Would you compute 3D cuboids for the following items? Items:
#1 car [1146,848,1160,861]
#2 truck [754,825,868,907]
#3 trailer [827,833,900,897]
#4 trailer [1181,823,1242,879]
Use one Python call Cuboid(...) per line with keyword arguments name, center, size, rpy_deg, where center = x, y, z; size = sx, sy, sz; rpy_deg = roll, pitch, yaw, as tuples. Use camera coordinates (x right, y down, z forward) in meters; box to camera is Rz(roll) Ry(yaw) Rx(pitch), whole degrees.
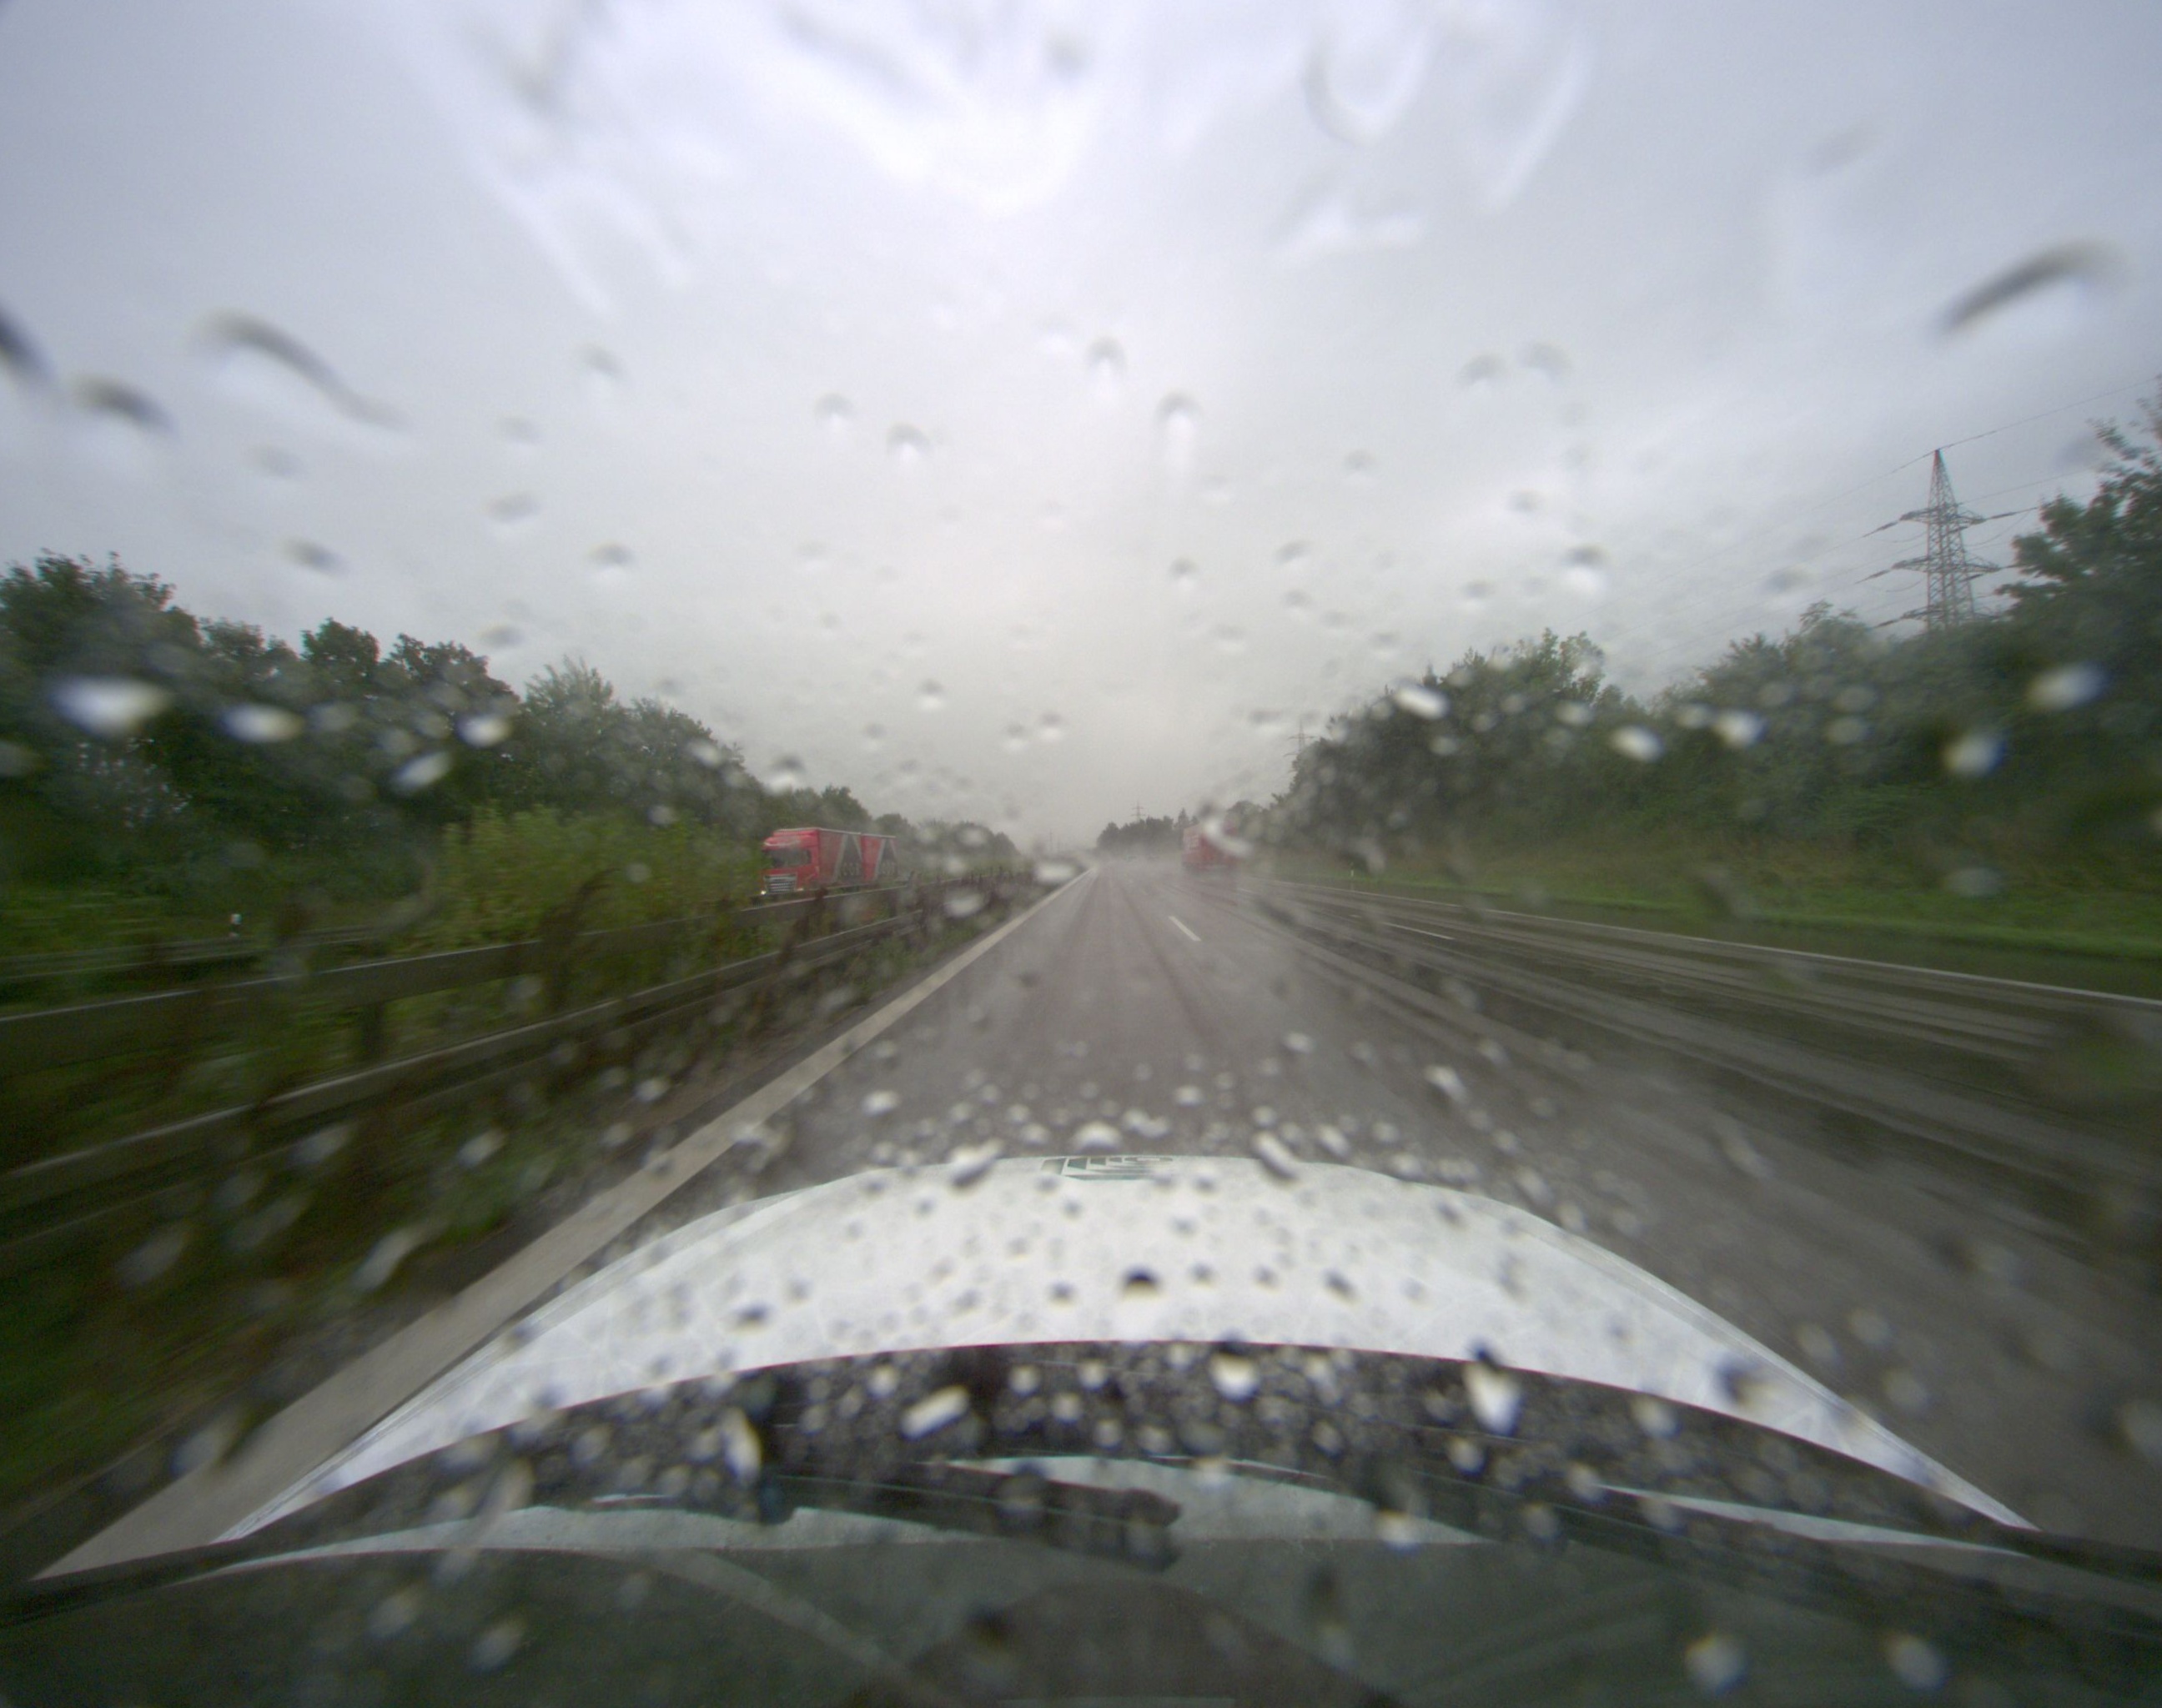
Cuboid(name="car", center=(12.386, 0.140, 139.379), size=(1.802, 2.158, 3.997), rpy_deg=(-4, 0, -2))
Cuboid(name="truck", center=(-15.584, 0.653, 48.263), size=(2.688, 4.230, 11.356), rpy_deg=(-1, 0, 1))
Cuboid(name="trailer", center=(-15.356, 0.750, 58.220), size=(2.688, 4.230, 8.491), rpy_deg=(-1, 0, 1))
Cuboid(name="trailer", center=(10.496, -0.168, 67.209), size=(2.612, 3.955, 13.627), rpy_deg=(-4, -1, 0))
